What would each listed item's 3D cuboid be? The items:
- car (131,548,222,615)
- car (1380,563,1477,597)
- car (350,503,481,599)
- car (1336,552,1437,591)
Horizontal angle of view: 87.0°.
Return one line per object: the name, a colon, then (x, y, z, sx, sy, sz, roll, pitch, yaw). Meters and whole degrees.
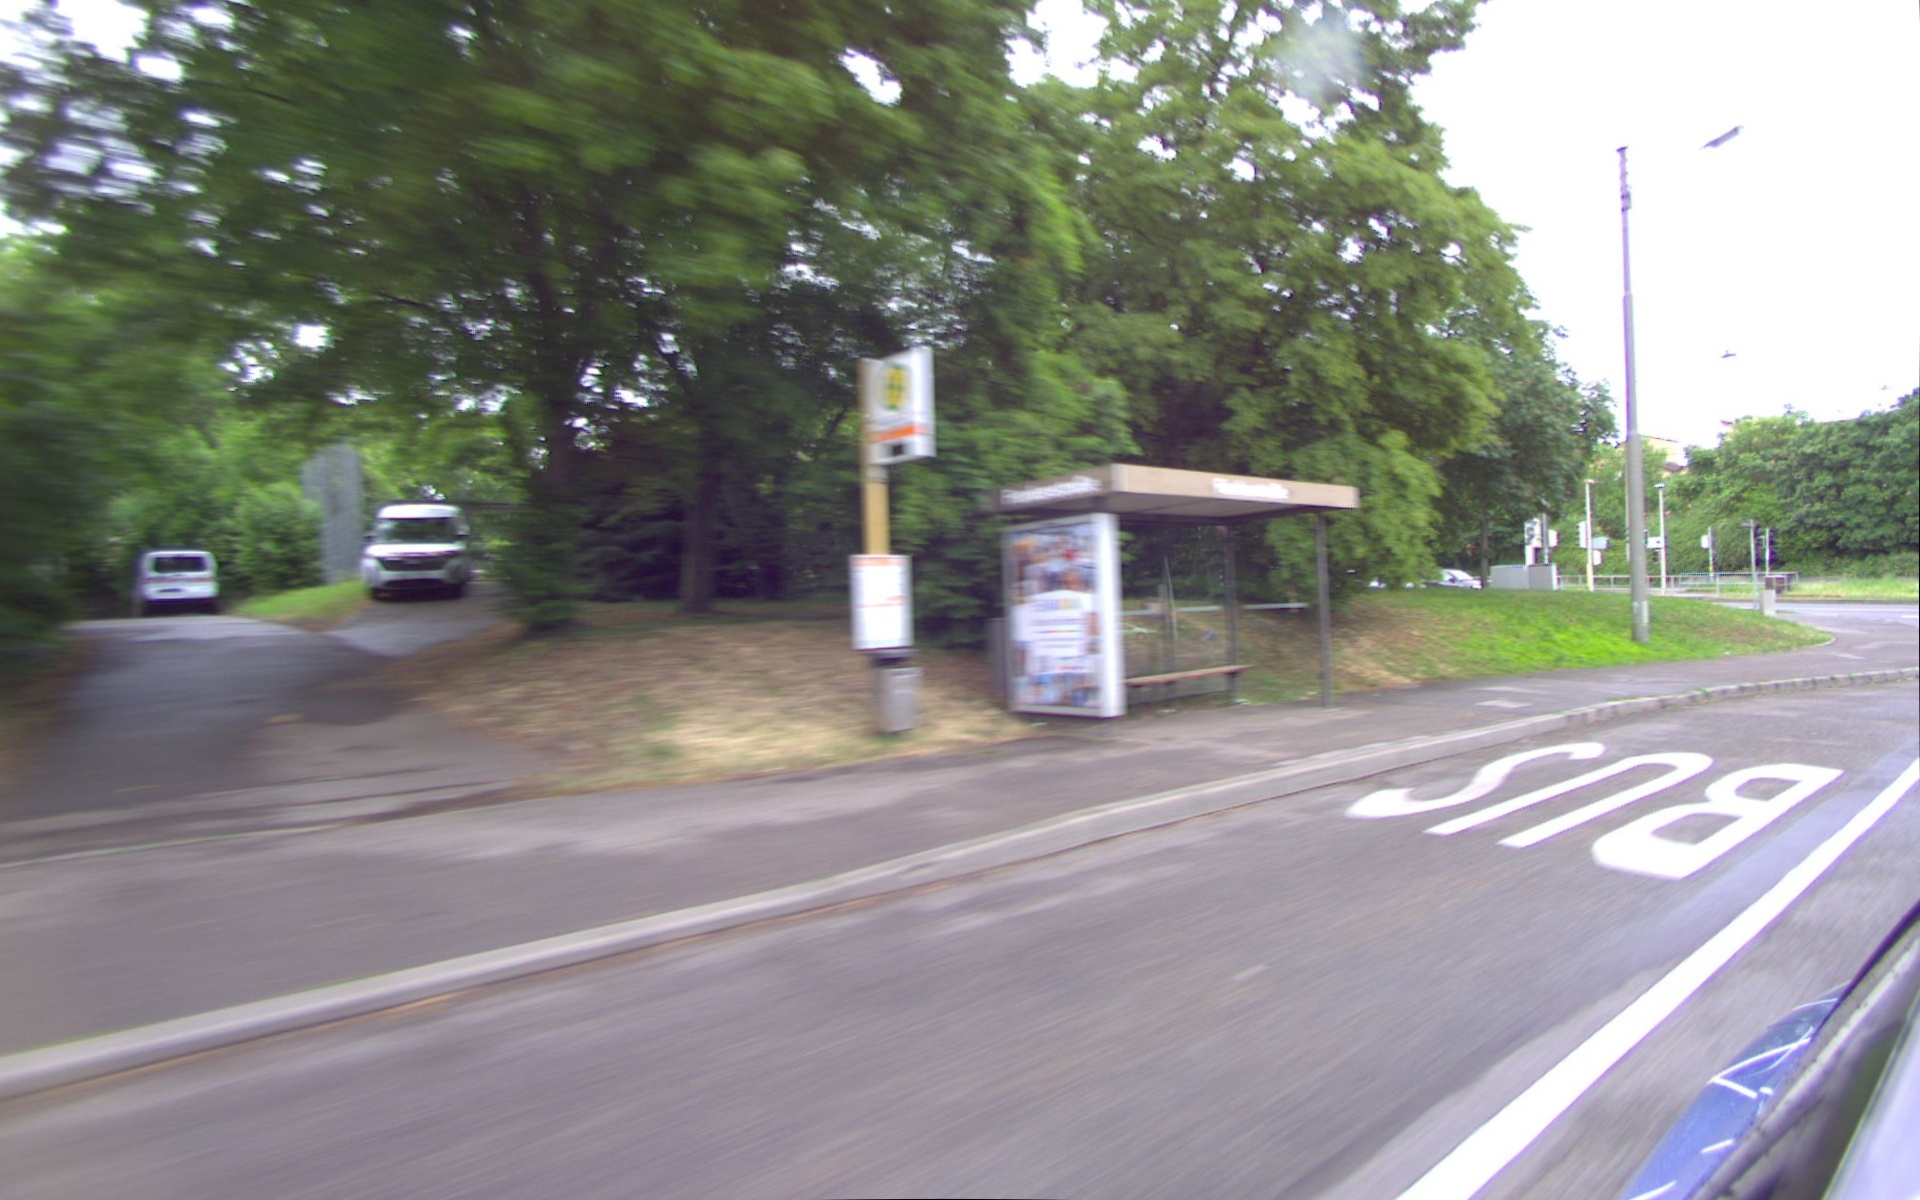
car: (-23.260, -0.507, 29.984, 1.965, 1.802, 5.019, -1, 0, -40)
car: (21.747, -0.915, 47.081, 1.576, 1.418, 3.792, -5, 3, -34)
car: (-11.465, -1.145, 21.592, 1.764, 1.800, 4.341, -1, 6, -19)
car: (19.149, -1.257, 45.590, 1.693, 1.572, 3.862, -5, 3, -35)
